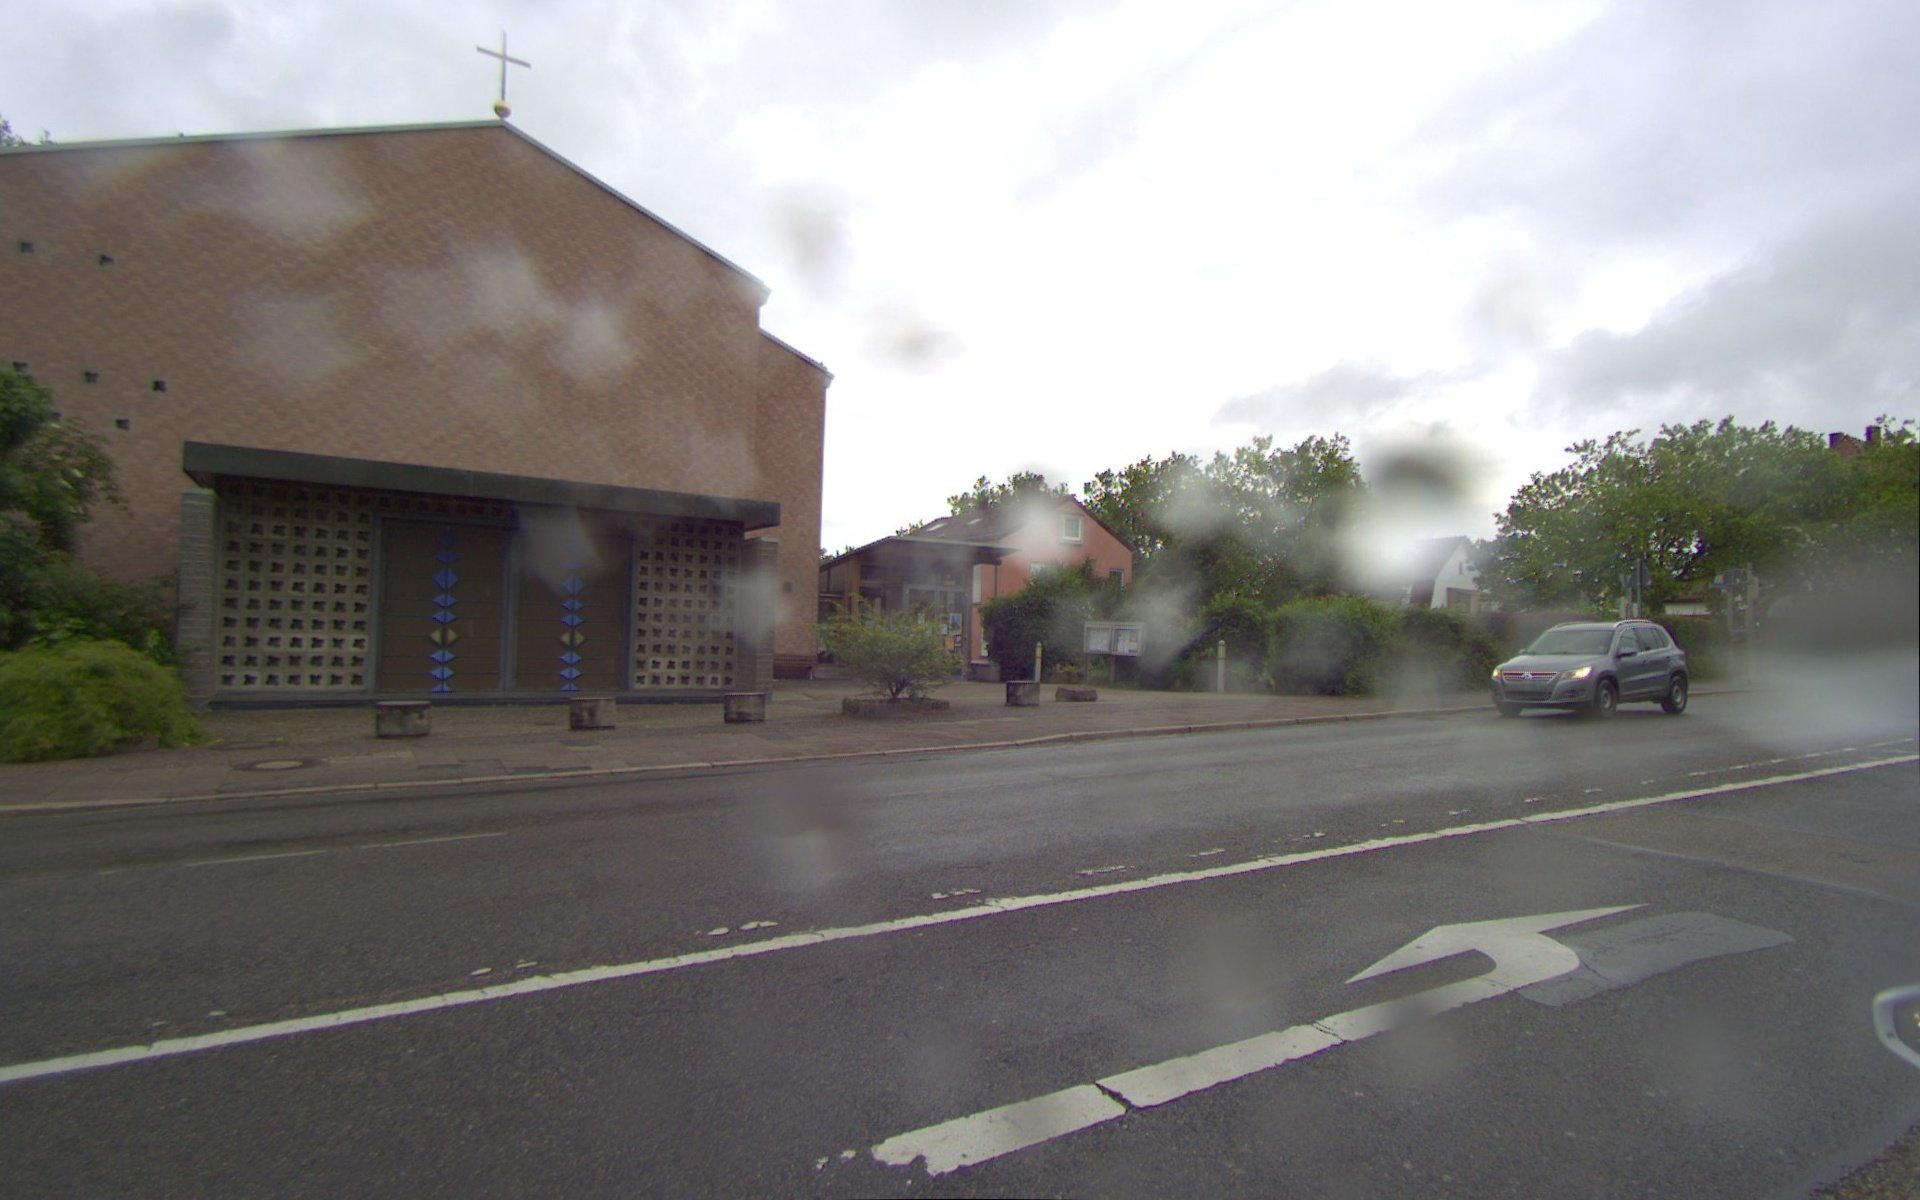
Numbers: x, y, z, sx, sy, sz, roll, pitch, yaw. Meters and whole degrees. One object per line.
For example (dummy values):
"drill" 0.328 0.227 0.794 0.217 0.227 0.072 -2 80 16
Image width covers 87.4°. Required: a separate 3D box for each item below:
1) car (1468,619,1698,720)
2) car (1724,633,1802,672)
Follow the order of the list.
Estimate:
"car" 11.236 1.190 18.047 4.271 1.611 1.897 1 -2 -33
"car" 39.274 2.524 49.125 3.955 1.573 1.798 -3 2 -32
